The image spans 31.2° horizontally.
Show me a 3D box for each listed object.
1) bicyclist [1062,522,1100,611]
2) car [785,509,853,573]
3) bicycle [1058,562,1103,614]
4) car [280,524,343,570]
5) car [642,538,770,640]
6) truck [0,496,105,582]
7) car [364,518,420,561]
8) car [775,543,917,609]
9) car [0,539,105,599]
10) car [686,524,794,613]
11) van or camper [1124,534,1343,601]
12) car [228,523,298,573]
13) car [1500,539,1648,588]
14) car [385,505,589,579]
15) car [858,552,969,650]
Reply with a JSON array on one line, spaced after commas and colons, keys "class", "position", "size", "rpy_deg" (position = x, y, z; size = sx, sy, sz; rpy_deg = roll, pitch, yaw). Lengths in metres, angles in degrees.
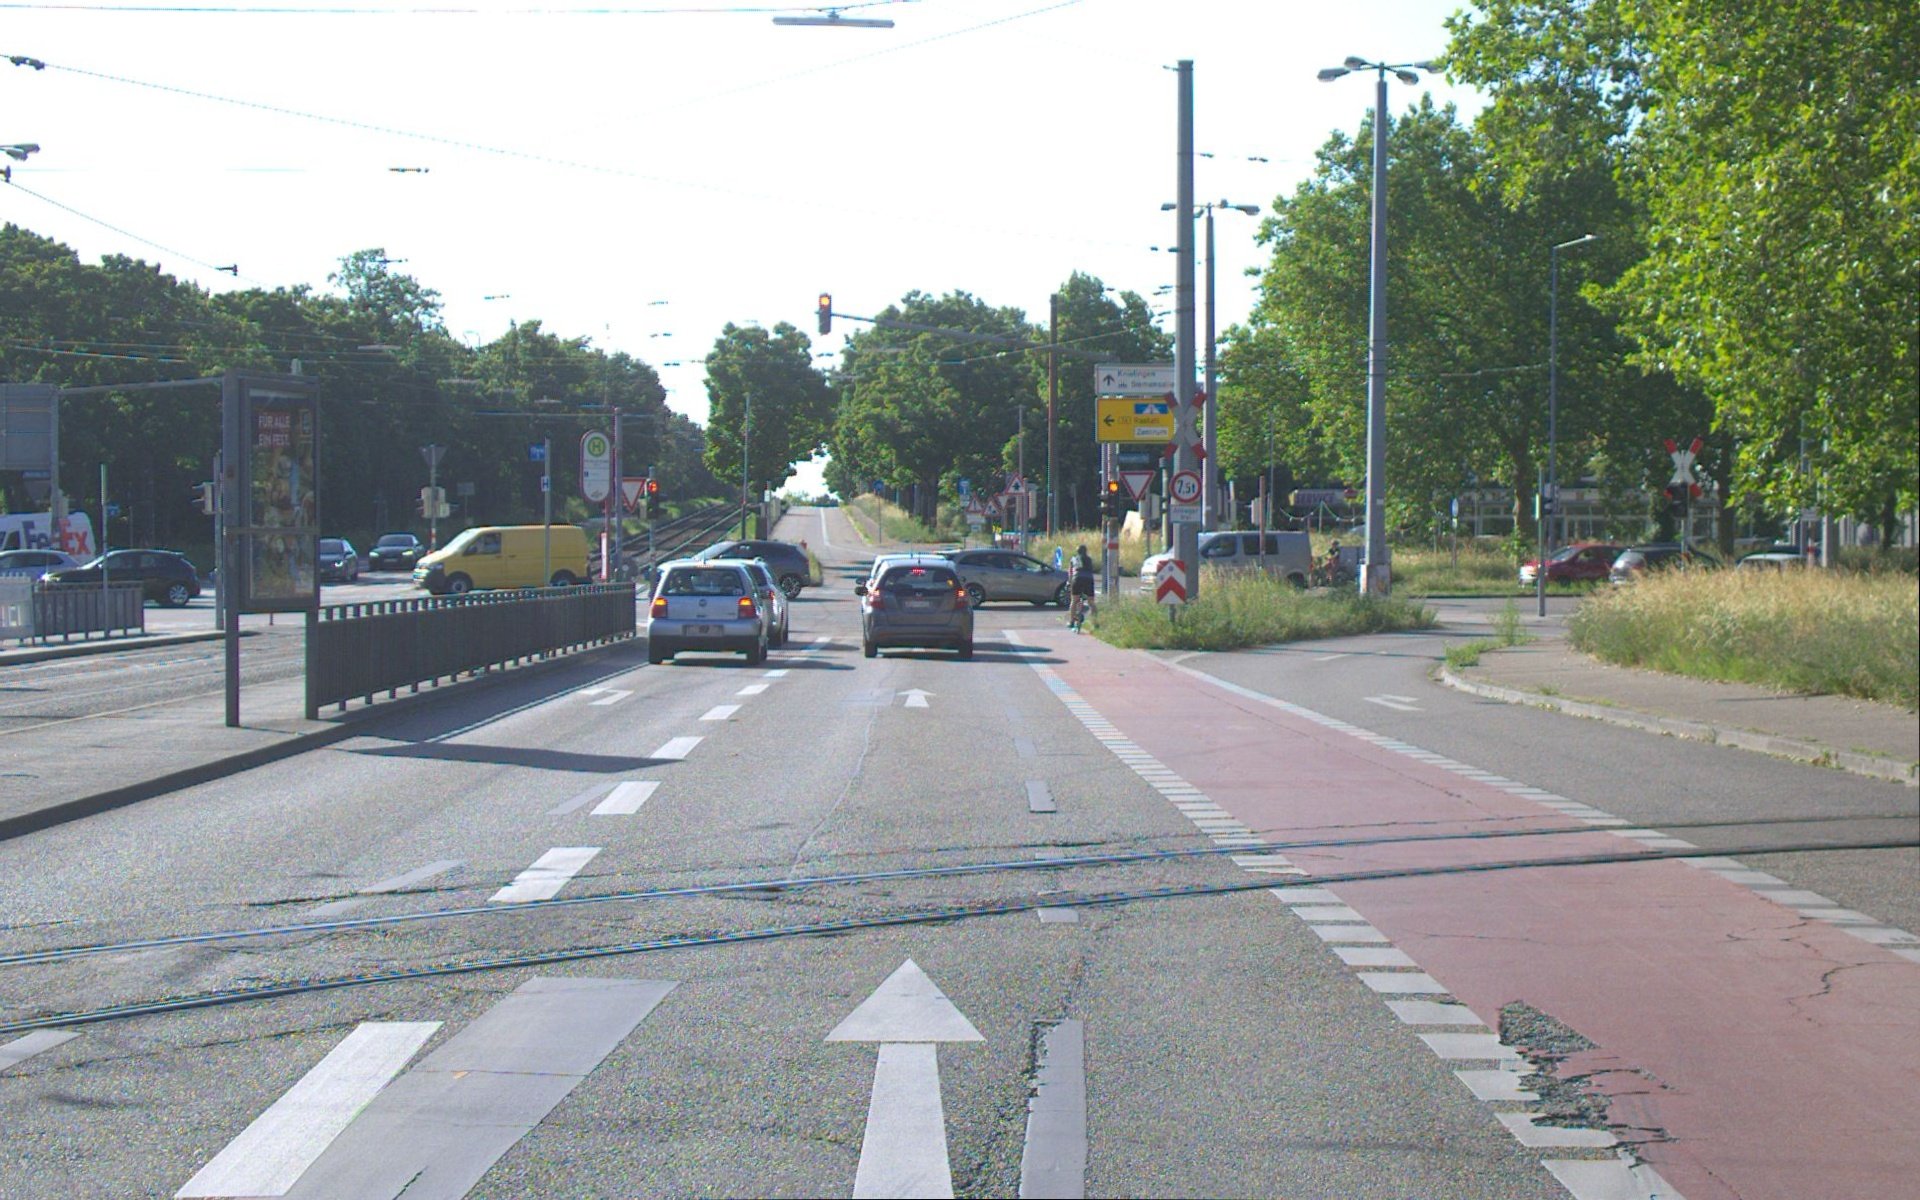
[{"class": "bicyclist", "position": [2.381, -0.656, 67.669], "size": [0.666, 1.710, 0.948], "rpy_deg": [2, 0, -1]}, {"class": "car", "position": [-4.610, -1.923, 112.714], "size": [1.993, 2.007, 4.492], "rpy_deg": [2, 1, 0]}, {"class": "bicycle", "position": [2.368, -0.252, 67.754], "size": [0.722, 0.985, 2.876], "rpy_deg": [2, 1, -1]}, {"class": "car", "position": [-22.220, -1.817, 117.922], "size": [1.832, 1.543, 4.286], "rpy_deg": [0, 1, -7]}, {"class": "car", "position": [-3.629, -0.175, 49.557], "size": [1.619, 1.413, 3.351], "rpy_deg": [0, 1, -1]}, {"class": "truck", "position": [-28.825, -1.869, 104.597], "size": [1.995, 2.556, 6.816], "rpy_deg": [1, 1, 20]}, {"class": "car", "position": [-22.436, -2.406, 135.974], "size": [1.993, 1.599, 4.756], "rpy_deg": [1, 1, -8]}, {"class": "car", "position": [-3.126, -0.660, 93.973], "size": [3.608, 1.703, 1.752], "rpy_deg": [1, 1, -11]}, {"class": "car", "position": [-24.313, -0.819, 88.778], "size": [3.987, 1.468, 1.752], "rpy_deg": [1, 1, -31]}, {"class": "car", "position": [-3.779, -0.547, 59.439], "size": [1.619, 1.452, 4.085], "rpy_deg": [1, 1, -1]}, {"class": "van or camper", "position": [7.676, -0.912, 96.284], "size": [5.967, 1.822, 2.000], "rpy_deg": [0, 1, -27]}, {"class": "car", "position": [-21.641, -1.626, 106.841], "size": [1.832, 1.543, 4.001], "rpy_deg": [0, 1, -7]}, {"class": "car", "position": [18.019, -1.067, 100.882], "size": [4.002, 1.398, 1.610], "rpy_deg": [0, 1, -22]}, {"class": "car", "position": [-13.042, -1.585, 94.802], "size": [5.154, 1.873, 2.000], "rpy_deg": [1, 1, -27]}, {"class": "car", "position": [-0.752, -0.008, 53.670], "size": [1.668, 1.457, 3.586], "rpy_deg": [0, 1, -2]}]
